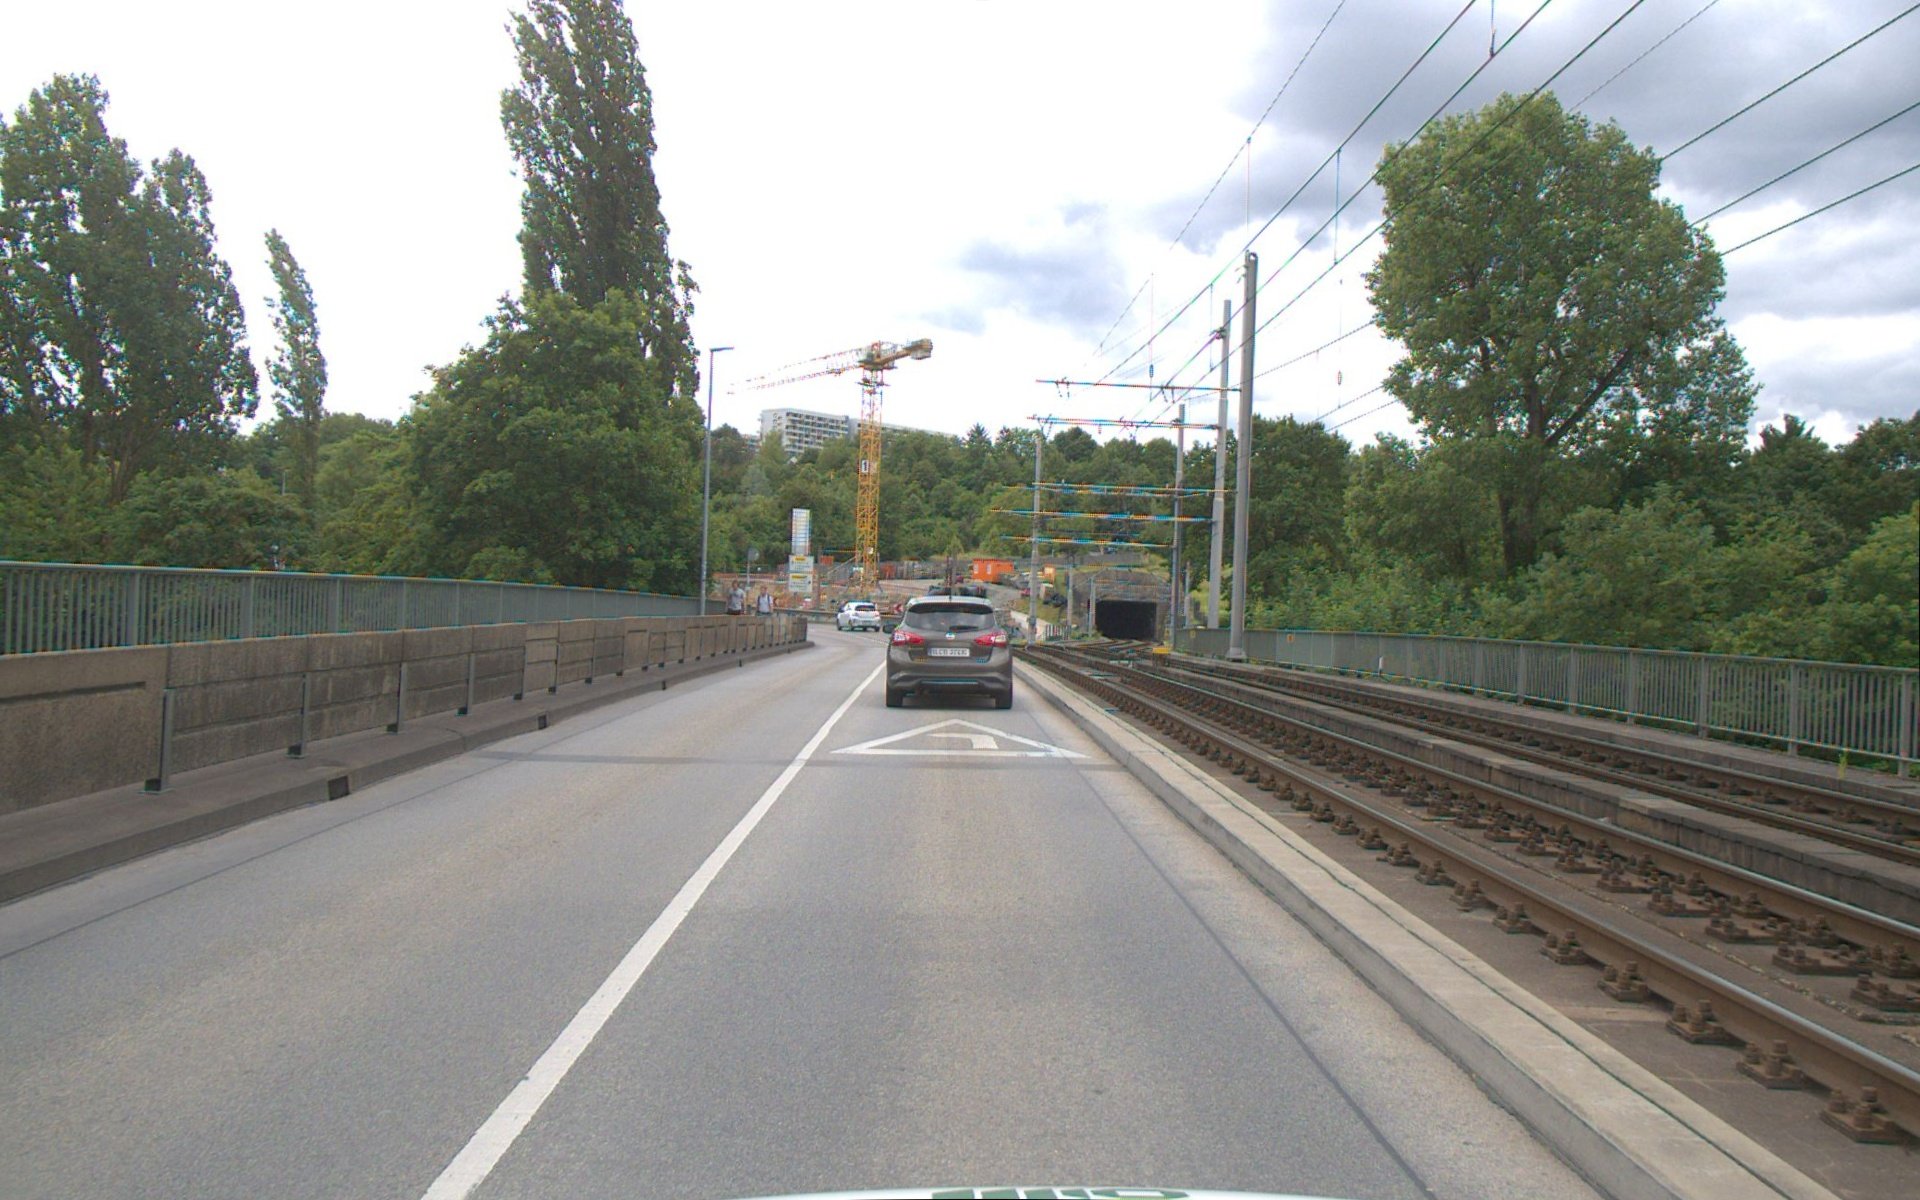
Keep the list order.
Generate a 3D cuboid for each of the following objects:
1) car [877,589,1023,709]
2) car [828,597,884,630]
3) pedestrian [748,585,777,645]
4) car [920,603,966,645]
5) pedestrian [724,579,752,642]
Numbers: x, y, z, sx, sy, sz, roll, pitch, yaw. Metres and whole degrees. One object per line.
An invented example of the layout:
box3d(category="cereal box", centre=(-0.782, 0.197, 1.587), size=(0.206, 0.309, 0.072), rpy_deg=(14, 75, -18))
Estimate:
box3d(category="car", centre=(-0.229, 0.656, 23.784), size=(1.794, 1.536, 3.996), rpy_deg=(2, 0, -4))
box3d(category="car", centre=(-5.574, 0.718, 88.175), size=(1.657, 1.634, 4.279), rpy_deg=(1, 0, -23))
box3d(category="pedestrian", centre=(-5.860, 0.440, 49.083), size=(0.706, 1.731, 0.723), rpy_deg=(2, 0, -1))
box3d(category="car", centre=(-0.738, 1.001, 70.863), size=(1.647, 1.634, 4.305), rpy_deg=(1, 0, -5))
box3d(category="pedestrian", centre=(-6.741, 0.307, 50.171), size=(0.706, 1.872, 0.723), rpy_deg=(2, 0, -1))
